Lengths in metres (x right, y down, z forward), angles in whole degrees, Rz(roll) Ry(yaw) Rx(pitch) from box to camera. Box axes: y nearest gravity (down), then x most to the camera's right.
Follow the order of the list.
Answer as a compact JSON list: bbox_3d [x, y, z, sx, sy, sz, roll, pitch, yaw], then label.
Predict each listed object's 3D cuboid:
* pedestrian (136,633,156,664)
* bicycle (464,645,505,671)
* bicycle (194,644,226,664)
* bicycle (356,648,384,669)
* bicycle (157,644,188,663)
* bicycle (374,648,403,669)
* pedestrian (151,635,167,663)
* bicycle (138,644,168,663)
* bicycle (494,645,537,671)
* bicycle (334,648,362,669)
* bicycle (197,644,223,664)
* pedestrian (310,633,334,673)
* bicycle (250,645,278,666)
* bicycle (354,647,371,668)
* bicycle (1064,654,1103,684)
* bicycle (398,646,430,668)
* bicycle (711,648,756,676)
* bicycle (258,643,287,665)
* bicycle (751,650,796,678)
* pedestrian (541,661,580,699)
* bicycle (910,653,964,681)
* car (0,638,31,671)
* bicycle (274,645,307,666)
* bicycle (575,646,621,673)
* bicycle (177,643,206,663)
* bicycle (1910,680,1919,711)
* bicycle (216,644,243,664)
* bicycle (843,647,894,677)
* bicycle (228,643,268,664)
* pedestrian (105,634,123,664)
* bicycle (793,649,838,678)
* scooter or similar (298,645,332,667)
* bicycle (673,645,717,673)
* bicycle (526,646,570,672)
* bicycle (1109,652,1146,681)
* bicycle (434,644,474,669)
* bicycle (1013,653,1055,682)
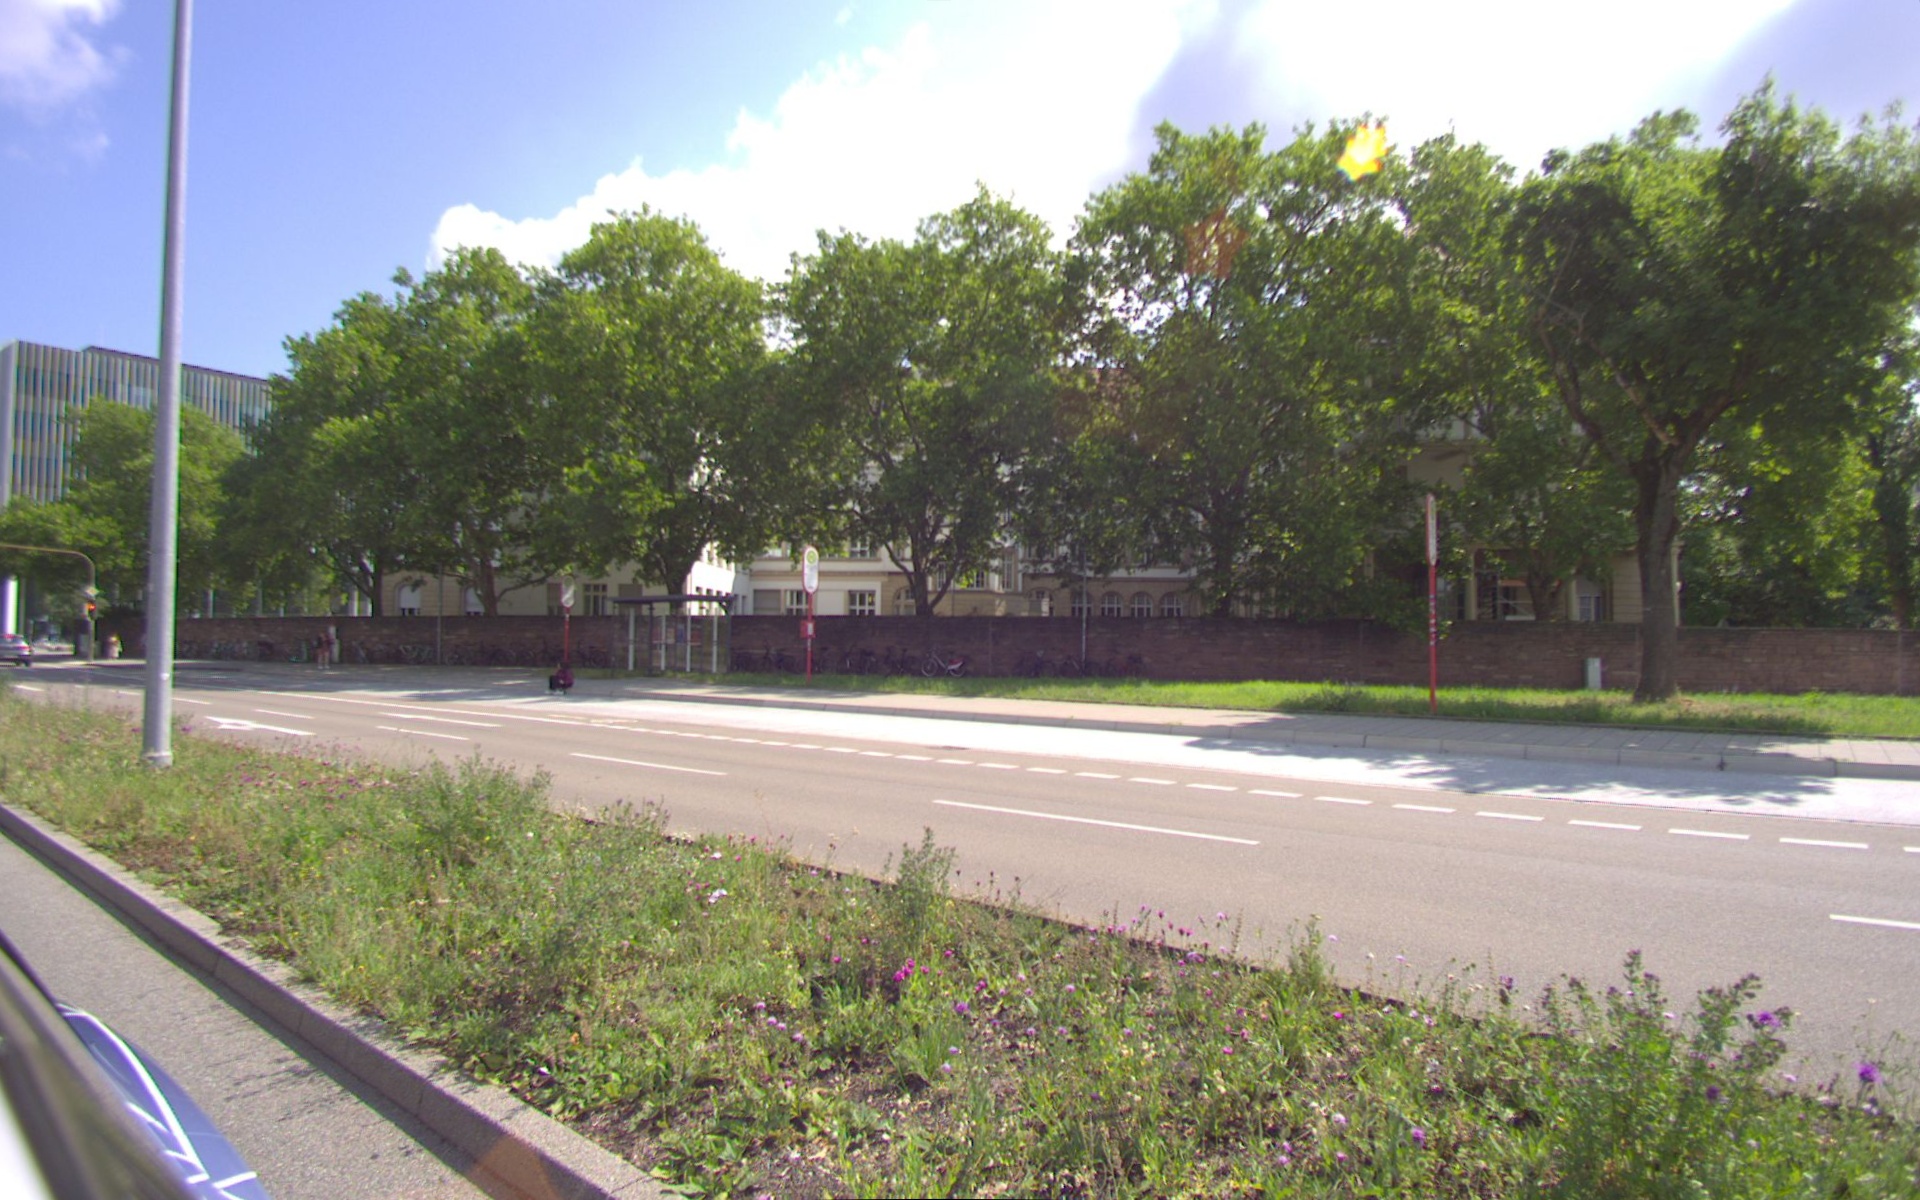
[{"bbox_3d":[-44.249,2.624,55.009,0.729,1.664,0.636,-2,-3,33],"label":"pedestrian"},{"bbox_3d":[-20.687,2.520,44.004,1.744,1.081,0.580,-1,-3,22],"label":"bicycle"},{"bbox_3d":[-39.339,2.823,53.074,1.873,1.056,0.588,-1,-3,29],"label":"bicycle"},{"bbox_3d":[-27.738,2.752,47.609,1.393,0.962,0.364,-1,-3,23],"label":"bicycle"},{"bbox_3d":[-43.846,2.971,56.345,1.873,1.056,0.625,-1,-3,29],"label":"bicycle"},{"bbox_3d":[-26.459,2.691,46.841,1.393,0.962,0.364,-1,-3,23],"label":"bicycle"},{"bbox_3d":[-44.241,2.713,55.879,0.614,1.552,0.472,-2,-3,33],"label":"pedestrian"},{"bbox_3d":[-45.743,3.011,57.363,1.873,1.056,0.625,-1,-3,29],"label":"bicycle"},{"bbox_3d":[-18.980,2.474,43.196,1.741,1.081,0.581,-1,-3,17],"label":"bicycle"},{"bbox_3d":[-29.124,2.781,48.144,1.393,0.962,0.364,-1,-3,23],"label":"bicycle"},{"bbox_3d":[-40.227,2.868,54.265,1.873,1.056,0.367,-1,-3,29],"label":"bicycle"},{"bbox_3d":[-26.569,2.205,42.152,0.744,1.622,0.649,-2,-2,39],"label":"pedestrian"},{"bbox_3d":[-35.047,2.780,50.950,1.873,1.056,0.370,-1,-3,29],"label":"bicycle"},{"bbox_3d":[-27.698,2.641,46.908,0.362,0.962,1.626,2,-3,-42],"label":"bicycle"},{"bbox_3d":[4.391,2.451,36.019,1.359,1.019,0.390,-1,-3,18],"label":"bicycle"},{"bbox_3d":[-24.828,2.598,46.028,1.616,0.962,0.368,-1,-3,23],"label":"bicycle"},{"bbox_3d":[-8.834,2.412,39.487,1.617,1.081,0.581,-1,-3,17],"label":"bicycle"},{"bbox_3d":[-34.863,2.729,51.297,1.873,1.056,0.391,-1,-3,29],"label":"bicycle"},{"bbox_3d":[-7.167,2.456,38.938,1.617,1.081,0.581,-1,-3,17],"label":"bicycle"},{"bbox_3d":[-10.823,2.164,27.420,0.742,0.970,0.688,-2,-3,37],"label":"pedestrian"},{"bbox_3d":[-0.841,2.450,37.264,1.948,1.019,0.469,-1,-3,18],"label":"bicycle"},{"bbox_3d":[-44.101,2.476,46.271,4.140,1.456,1.684,-2,-4,38],"label":"car"},{"bbox_3d":[-33.258,2.756,50.273,1.873,1.056,0.576,-1,-3,29],"label":"bicycle"},{"bbox_3d":[-14.873,2.433,41.578,1.741,1.081,0.581,-1,-3,17],"label":"bicycle"},{"bbox_3d":[-41.967,2.891,55.256,1.873,1.056,0.560,-1,-3,29],"label":"bicycle"},{"bbox_3d":[32.218,3.159,33.407,1.498,0.999,0.395,1,-2,-9],"label":"bicycle"},{"bbox_3d":[-38.375,2.828,53.165,1.873,1.056,0.367,-1,-3,29],"label":"bicycle"},{"bbox_3d":[-3.432,2.314,37.984,1.857,1.081,0.580,-1,-3,22],"label":"bicycle"},{"bbox_3d":[-36.658,2.736,52.076,1.863,1.056,0.591,0,-3,14],"label":"bicycle"},{"bbox_3d":[-47.704,2.744,57.084,0.725,1.664,0.556,-2,-3,33],"label":"pedestrian"},{"bbox_3d":[-5.505,2.393,38.498,1.617,1.081,0.581,-1,-3,17],"label":"bicycle"},{"bbox_3d":[-31.537,2.723,49.463,1.873,1.056,0.576,-1,-3,29],"label":"scooter or similar"},{"bbox_3d":[-10.487,2.339,40.027,1.617,1.081,0.581,-1,-3,17],"label":"bicycle"},{"bbox_3d":[-17.257,2.456,42.413,1.741,1.081,0.581,-1,-3,17],"label":"bicycle"},{"bbox_3d":[5.928,2.346,35.746,1.244,1.019,0.351,-1,-3,18],"label":"bicycle"},{"bbox_3d":[-22.361,2.500,44.702,1.744,1.081,0.579,-1,-3,23],"label":"bicycle"},{"bbox_3d":[2.652,2.436,36.439,1.444,1.019,0.469,-1,-3,18],"label":"bicycle"}]
